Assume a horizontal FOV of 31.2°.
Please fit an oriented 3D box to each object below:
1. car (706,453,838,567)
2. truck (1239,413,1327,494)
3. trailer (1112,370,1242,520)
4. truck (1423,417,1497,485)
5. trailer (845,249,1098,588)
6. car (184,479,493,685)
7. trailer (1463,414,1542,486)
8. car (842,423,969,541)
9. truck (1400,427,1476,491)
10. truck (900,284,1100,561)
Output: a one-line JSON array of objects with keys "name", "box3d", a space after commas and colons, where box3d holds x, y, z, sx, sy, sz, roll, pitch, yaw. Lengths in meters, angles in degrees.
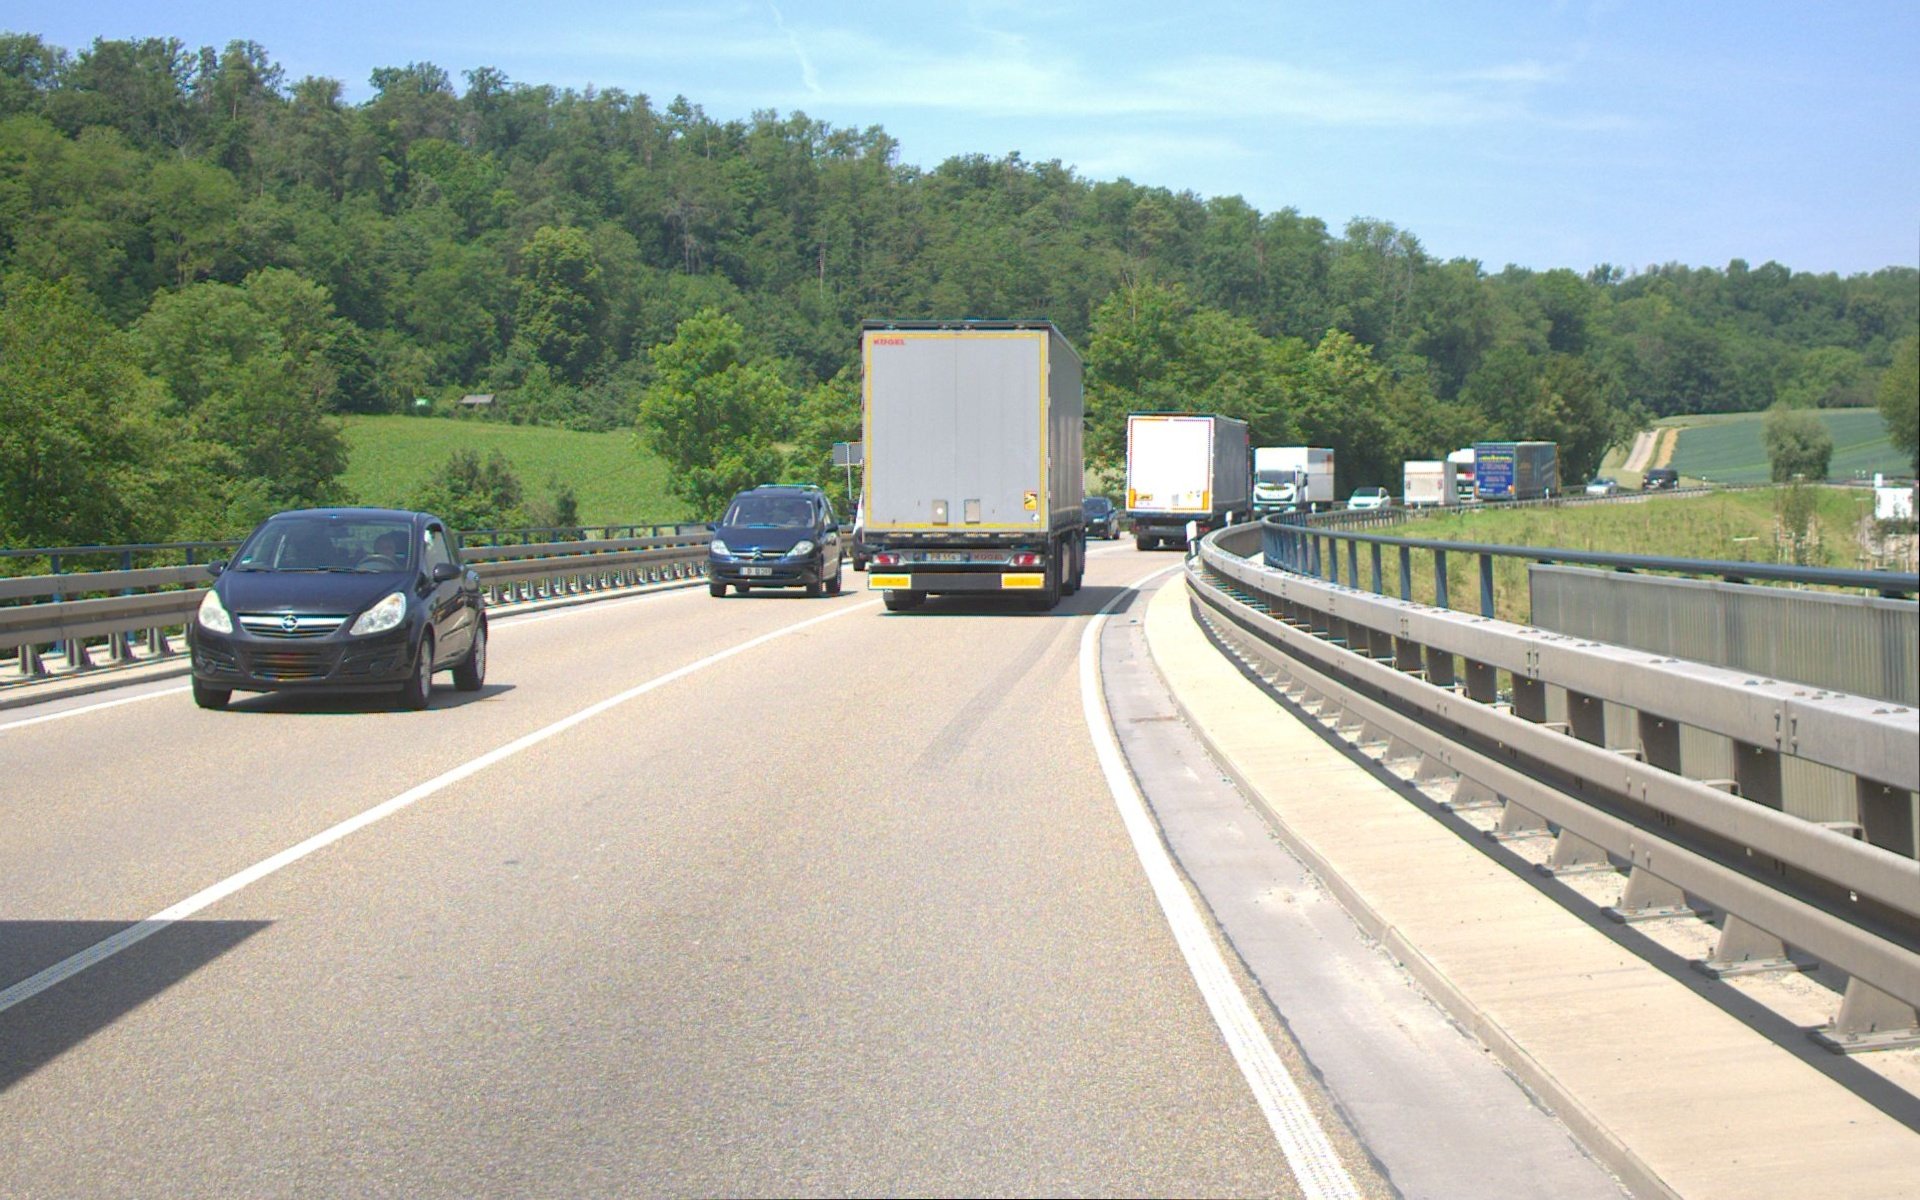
[{"name": "car", "box3d": [-3.071, -1.520, 57.020, 1.852, 1.792, 4.978, 0, 2, 1]}, {"name": "truck", "box3d": [15.767, -7.144, 167.204, 2.916, 3.790, 9.703, 1, 3, 13]}, {"name": "trailer", "box3d": [6.802, -4.697, 105.919, 3.366, 4.302, 13.862, 0, 2, 6]}, {"name": "truck", "box3d": [31.844, -9.437, 218.735, 3.063, 4.248, 9.860, 1, 2, 18]}, {"name": "trailer", "box3d": [0.423, -2.732, 52.668, 3.118, 4.484, 13.886, 0, 3, 3]}, {"name": "car", "box3d": [-4.648, -0.188, 26.187, 1.661, 1.452, 3.895, 0, 2, 0]}, {"name": "trailer", "box3d": [32.924, -9.012, 208.114, 3.650, 4.248, 12.188, 1, 2, 14]}, {"name": "car", "box3d": [-1.181, -2.616, 77.333, 2.179, 2.550, 5.796, 1, 1, 6]}, {"name": "truck", "box3d": [26.073, -7.643, 187.105, 3.224, 3.353, 11.870, 1, 2, 12]}, {"name": "truck", "box3d": [0.780, -3.042, 59.295, 3.118, 4.478, 6.811, 0, 3, 3]}]
